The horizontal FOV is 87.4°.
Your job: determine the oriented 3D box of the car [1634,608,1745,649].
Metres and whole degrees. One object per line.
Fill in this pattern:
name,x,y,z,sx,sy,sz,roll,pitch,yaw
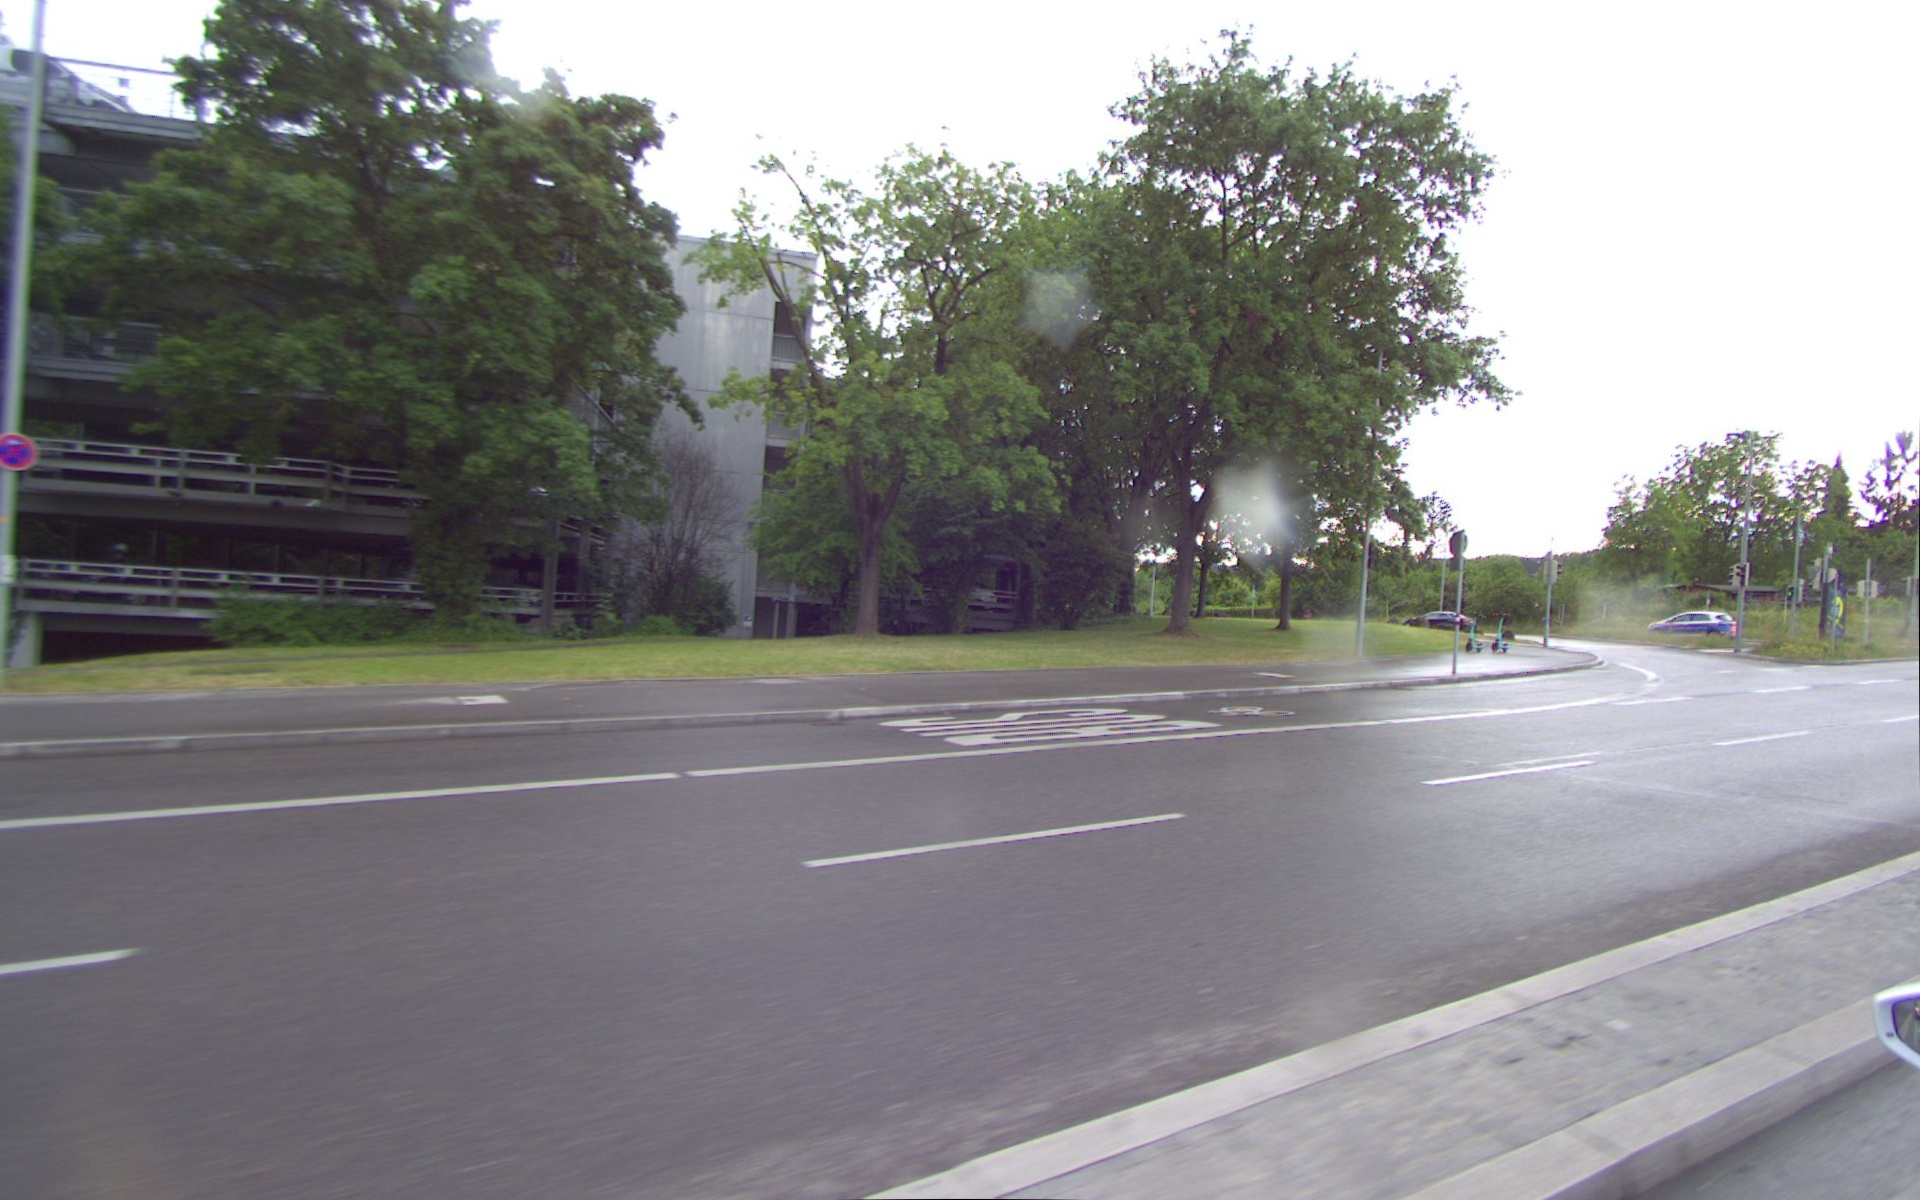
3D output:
car,38.082,1.458,52.555,2.058,1.741,4.166,3,2,-29

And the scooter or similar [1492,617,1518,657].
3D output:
scooter or similar,17.354,1.161,31.975,1.299,1.234,0.308,1,2,-44

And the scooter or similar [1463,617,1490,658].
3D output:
scooter or similar,15.957,1.139,31.043,1.299,1.234,0.308,1,2,-44

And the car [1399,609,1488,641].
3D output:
car,30.932,1.586,64.325,2.151,1.603,4.618,3,2,-34
